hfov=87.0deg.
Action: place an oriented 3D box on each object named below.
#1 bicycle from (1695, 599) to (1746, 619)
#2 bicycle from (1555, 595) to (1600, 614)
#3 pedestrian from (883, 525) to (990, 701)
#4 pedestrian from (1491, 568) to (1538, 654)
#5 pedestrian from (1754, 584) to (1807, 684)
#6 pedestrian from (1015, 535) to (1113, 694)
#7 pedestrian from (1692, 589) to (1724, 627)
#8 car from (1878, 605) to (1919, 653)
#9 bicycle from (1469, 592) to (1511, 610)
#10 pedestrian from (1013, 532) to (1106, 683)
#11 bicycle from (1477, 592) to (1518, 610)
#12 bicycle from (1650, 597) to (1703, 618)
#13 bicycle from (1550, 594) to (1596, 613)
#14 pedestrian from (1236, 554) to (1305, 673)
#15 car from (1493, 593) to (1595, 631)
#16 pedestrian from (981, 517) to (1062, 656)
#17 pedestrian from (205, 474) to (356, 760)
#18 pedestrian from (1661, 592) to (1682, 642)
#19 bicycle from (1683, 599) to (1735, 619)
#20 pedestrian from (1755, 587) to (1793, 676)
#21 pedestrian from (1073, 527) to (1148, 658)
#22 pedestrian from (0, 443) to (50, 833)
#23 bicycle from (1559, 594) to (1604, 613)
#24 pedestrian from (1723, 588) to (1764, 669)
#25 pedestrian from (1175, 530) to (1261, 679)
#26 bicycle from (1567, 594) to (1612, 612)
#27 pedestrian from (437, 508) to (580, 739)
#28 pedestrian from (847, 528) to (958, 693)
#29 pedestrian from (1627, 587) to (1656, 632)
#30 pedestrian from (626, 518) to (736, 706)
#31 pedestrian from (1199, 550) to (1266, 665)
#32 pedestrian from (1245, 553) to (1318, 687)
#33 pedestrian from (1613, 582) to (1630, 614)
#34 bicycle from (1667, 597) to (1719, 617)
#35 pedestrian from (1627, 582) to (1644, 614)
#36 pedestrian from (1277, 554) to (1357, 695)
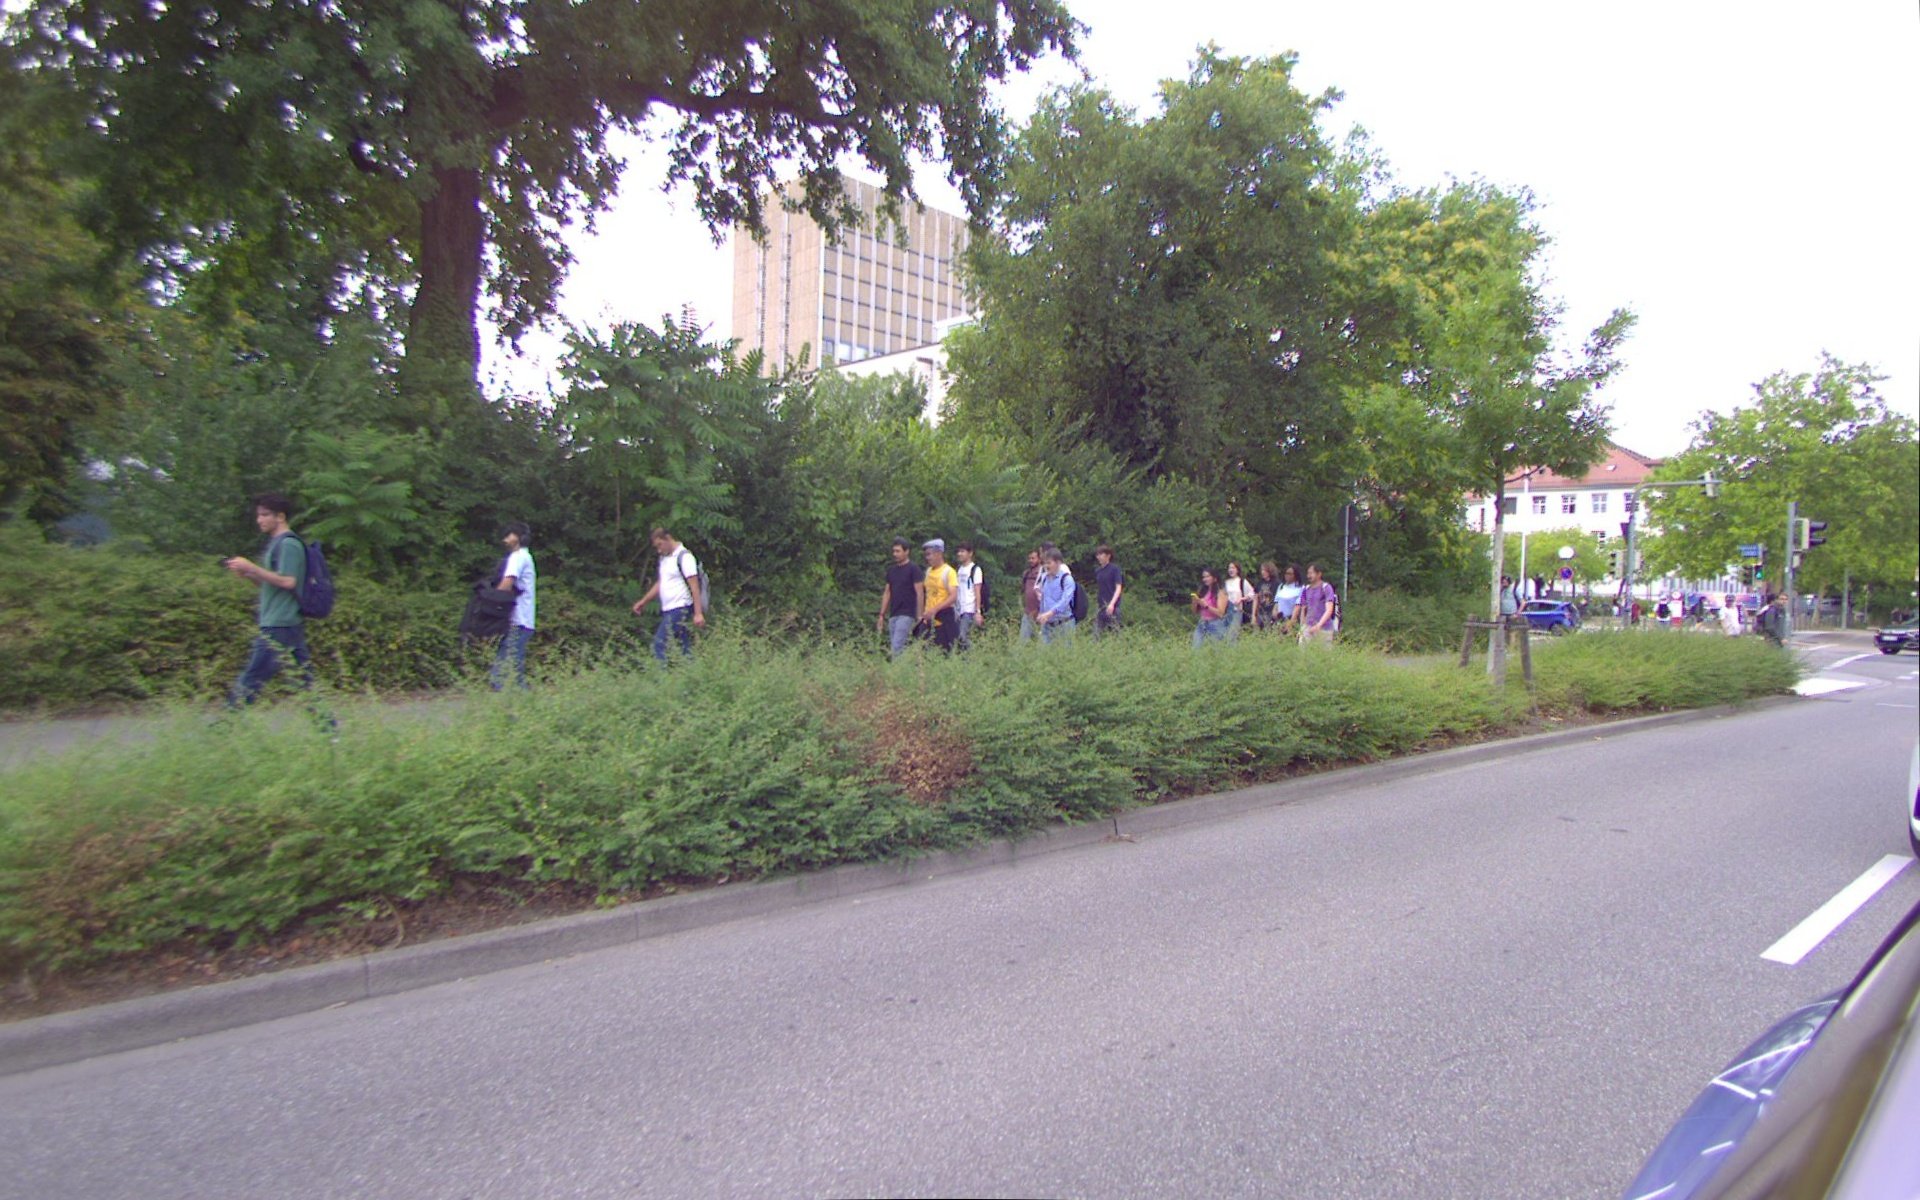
[{"bbox_3d":[48.012,0.568,63.886,0.705,1.156,2.471,1,1,-40],"label":"bicycle"},{"bbox_3d":[40.803,0.261,66.905,0.705,1.156,2.471,1,1,-40],"label":"bicycle"},{"bbox_3d":[-0.239,0.119,10.353,0.827,1.710,0.658,1,1,-41],"label":"pedestrian"},{"bbox_3d":[12.030,0.230,21.953,0.727,1.818,0.646,1,1,-41],"label":"pedestrian"},{"bbox_3d":[14.871,0.593,18.341,0.643,1.756,0.602,1,1,-41],"label":"pedestrian"},{"bbox_3d":[1.142,0.140,11.125,0.798,1.668,0.658,1,1,-41],"label":"pedestrian"},{"bbox_3d":[34.386,0.378,46.504,0.687,1.730,0.957,1,0,-23],"label":"pedestrian"},{"bbox_3d":[33.964,0.972,34.058,4.122,1.576,1.794,0,0,19],"label":"car"},{"bbox_3d":[36.803,0.042,70.273,0.705,1.156,2.471,1,1,-40],"label":"bicycle"},{"bbox_3d":[1.236,0.087,12.553,0.941,1.788,0.658,1,0,-41],"label":"pedestrian"},{"bbox_3d":[37.770,0.039,71.141,0.705,1.156,2.471,1,1,-40],"label":"bicycle"},{"bbox_3d":[42.882,0.419,60.602,0.705,1.156,2.471,1,1,-40],"label":"bicycle"},{"bbox_3d":[40.187,0.226,66.367,0.705,1.156,2.471,1,1,-40],"label":"bicycle"},{"bbox_3d":[4.743,0.191,15.455,0.766,1.767,0.658,1,1,-41],"label":"pedestrian"},{"bbox_3d":[25.783,0.479,44.771,1.646,1.510,3.577,-1,2,-42],"label":"car"},{"bbox_3d":[0.794,-0.181,13.065,0.766,1.720,0.658,1,1,-41],"label":"pedestrian"},{"bbox_3d":[-4.726,0.102,7.036,0.797,1.844,0.658,1,1,-38],"label":"pedestrian"},{"bbox_3d":[27.158,0.627,38.626,0.643,1.876,0.818,1,0,37],"label":"pedestrian"},{"bbox_3d":[46.370,0.537,62.683,0.705,1.156,2.471,1,1,-40],"label":"bicycle"},{"bbox_3d":[16.500,0.623,20.513,0.626,1.756,0.455,1,1,-41],"label":"pedestrian"},{"bbox_3d":[2.100,-0.110,14.115,0.766,1.767,0.658,1,1,-41],"label":"pedestrian"},{"bbox_3d":[-4.945,0.182,4.567,0.868,1.853,0.939,2,1,-11],"label":"pedestrian"},{"bbox_3d":[41.391,0.201,67.422,0.705,1.156,2.471,1,1,-40],"label":"bicycle"},{"bbox_3d":[17.069,0.608,22.043,0.626,1.708,0.546,1,1,-41],"label":"pedestrian"},{"bbox_3d":[3.190,0.041,12.524,0.766,1.767,0.658,1,1,-41],"label":"pedestrian"},{"bbox_3d":[42.603,0.182,68.477,0.705,1.156,2.471,1,1,-40],"label":"bicycle"},{"bbox_3d":[-3.423,0.155,7.662,0.797,1.622,0.777,1,1,-38],"label":"pedestrian"},{"bbox_3d":[-0.615,0.097,10.938,0.954,1.687,0.658,1,1,-41],"label":"pedestrian"},{"bbox_3d":[28.616,0.391,42.473,0.875,1.827,0.769,1,0,-37],"label":"pedestrian"},{"bbox_3d":[-2.767,0.105,10.032,0.797,1.766,0.723,1,1,-38],"label":"pedestrian"},{"bbox_3d":[4.302,0.108,15.993,0.766,1.767,0.658,1,1,-41],"label":"pedestrian"},{"bbox_3d":[4.393,0.257,13.819,0.776,1.767,0.582,1,1,-41],"label":"pedestrian"},{"bbox_3d":[41.008,-0.118,62.731,0.675,1.988,0.601,1,0,9],"label":"pedestrian"},{"bbox_3d":[45.233,0.402,62.455,0.705,1.156,2.471,1,1,-40],"label":"bicycle"},{"bbox_3d":[41.793,-0.113,62.642,0.675,1.988,0.601,1,0,9],"label":"pedestrian"},{"bbox_3d":[4.632,0.299,13.140,0.766,1.767,0.625,1,1,-41],"label":"pedestrian"}]
